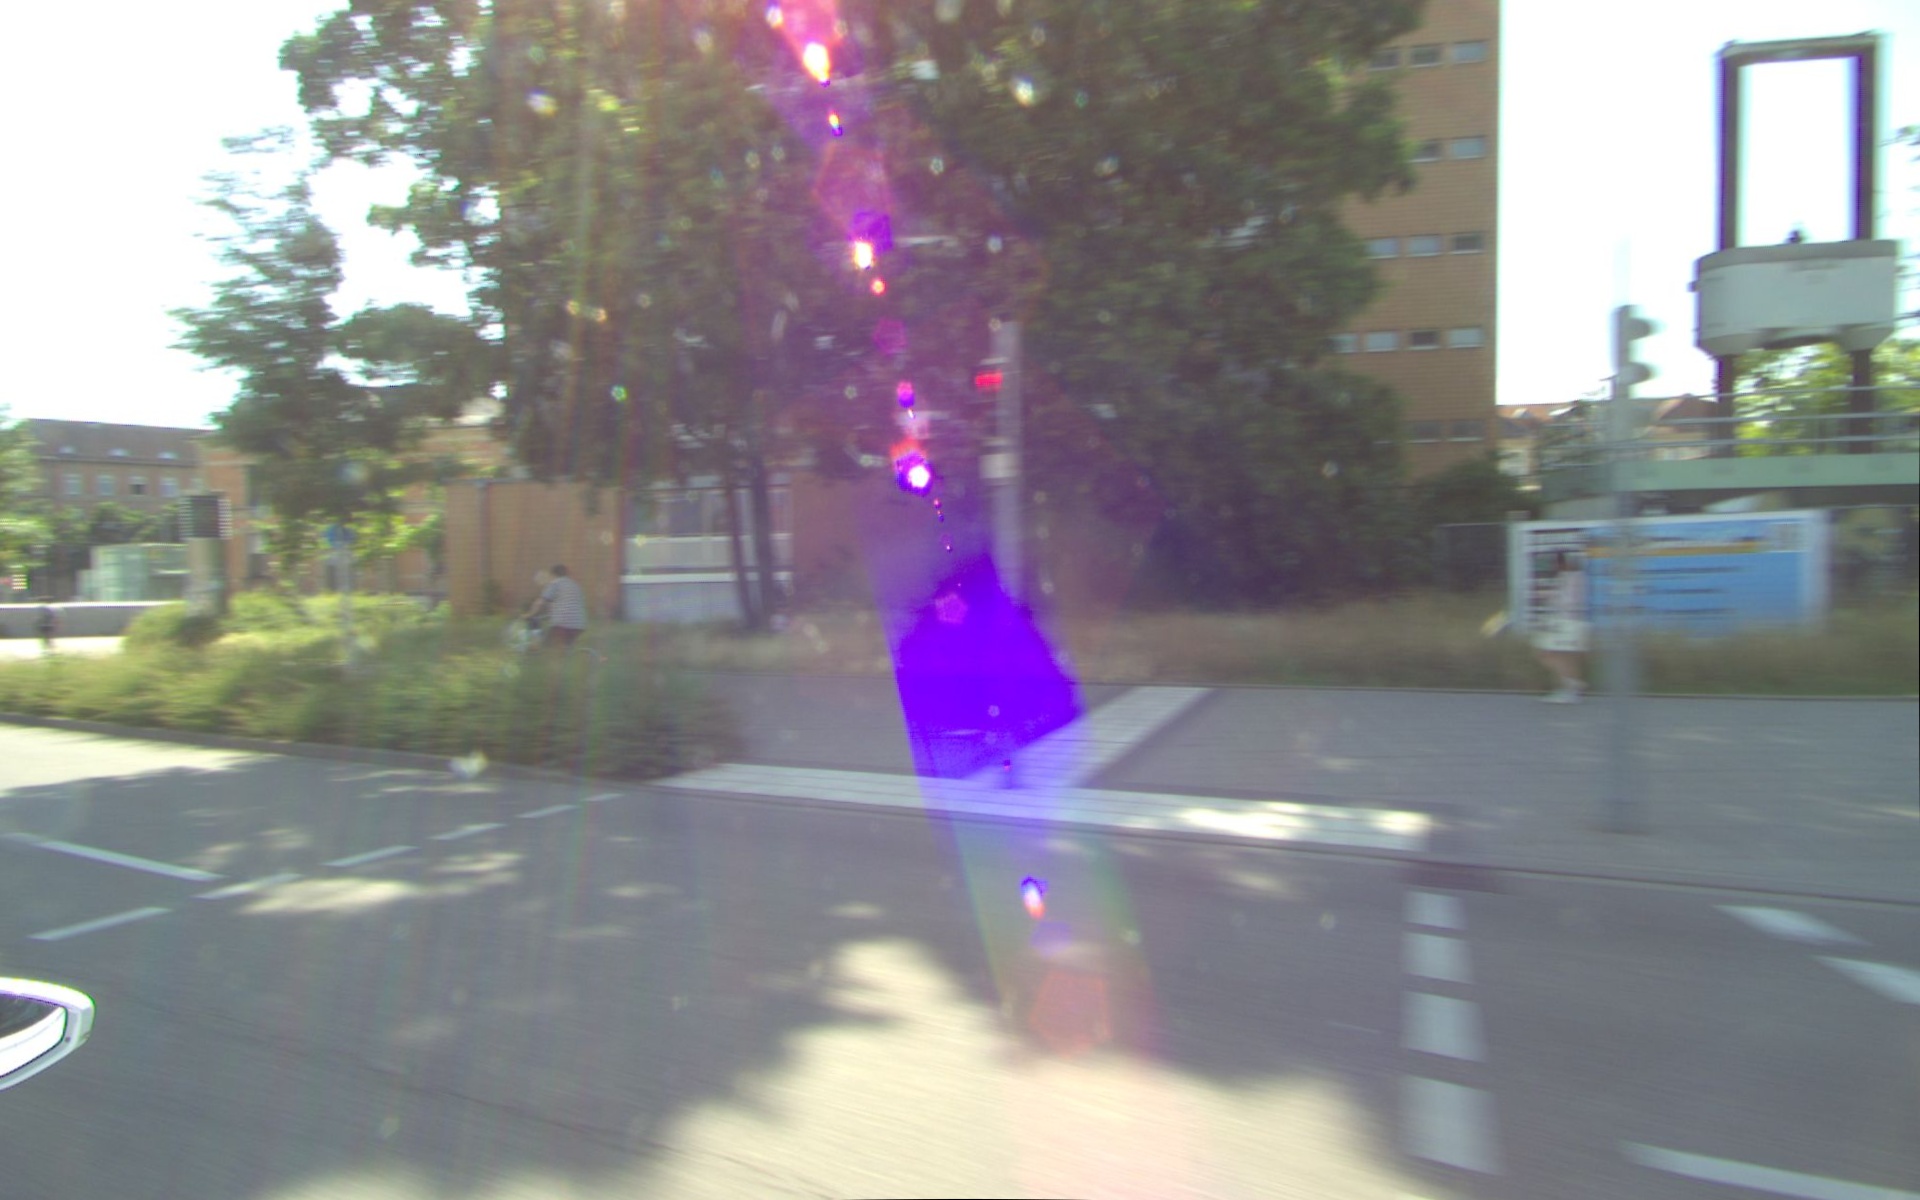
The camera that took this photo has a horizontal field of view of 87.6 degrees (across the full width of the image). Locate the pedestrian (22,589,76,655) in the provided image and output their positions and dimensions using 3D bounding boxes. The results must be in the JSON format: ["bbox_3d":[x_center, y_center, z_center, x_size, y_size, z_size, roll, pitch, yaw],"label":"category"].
[{"bbox_3d":[-24.911,0.581,27.374,0.788,1.749,0.869,0,2,32],"label":"pedestrian"}]

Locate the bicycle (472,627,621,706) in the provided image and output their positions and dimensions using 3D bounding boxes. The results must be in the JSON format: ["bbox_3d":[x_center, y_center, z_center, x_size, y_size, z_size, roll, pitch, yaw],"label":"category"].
[{"bbox_3d":[-5.566,0.870,13.459,1.926,0.960,0.691,-1,4,25],"label":"bicycle"}]

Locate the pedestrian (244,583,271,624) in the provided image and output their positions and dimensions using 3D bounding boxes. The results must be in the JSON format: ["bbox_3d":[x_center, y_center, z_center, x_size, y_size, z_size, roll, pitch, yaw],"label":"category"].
[{"bbox_3d":[-29.285,0.155,41.738,0.638,1.684,0.649,0,1,17],"label":"pedestrian"}]

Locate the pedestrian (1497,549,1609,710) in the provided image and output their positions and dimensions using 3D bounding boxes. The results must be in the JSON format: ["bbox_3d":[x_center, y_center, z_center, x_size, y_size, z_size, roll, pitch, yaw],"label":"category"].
[{"bbox_3d":[6.091,0.294,10.330,0.798,1.601,0.691,-1,2,11],"label":"pedestrian"}]

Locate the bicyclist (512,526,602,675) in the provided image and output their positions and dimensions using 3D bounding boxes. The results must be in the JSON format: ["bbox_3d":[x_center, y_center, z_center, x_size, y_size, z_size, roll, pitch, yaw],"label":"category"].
[{"bbox_3d":[-5.353,0.006,13.320,0.846,1.904,0.685,0,2,26],"label":"bicyclist"}]

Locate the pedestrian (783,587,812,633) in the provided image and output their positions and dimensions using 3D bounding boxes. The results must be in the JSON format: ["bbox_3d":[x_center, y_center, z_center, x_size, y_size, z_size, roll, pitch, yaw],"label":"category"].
[{"bbox_3d":[-3.286,0.202,20.231,0.421,0.904,0.392,0,2,18],"label":"pedestrian"}]
